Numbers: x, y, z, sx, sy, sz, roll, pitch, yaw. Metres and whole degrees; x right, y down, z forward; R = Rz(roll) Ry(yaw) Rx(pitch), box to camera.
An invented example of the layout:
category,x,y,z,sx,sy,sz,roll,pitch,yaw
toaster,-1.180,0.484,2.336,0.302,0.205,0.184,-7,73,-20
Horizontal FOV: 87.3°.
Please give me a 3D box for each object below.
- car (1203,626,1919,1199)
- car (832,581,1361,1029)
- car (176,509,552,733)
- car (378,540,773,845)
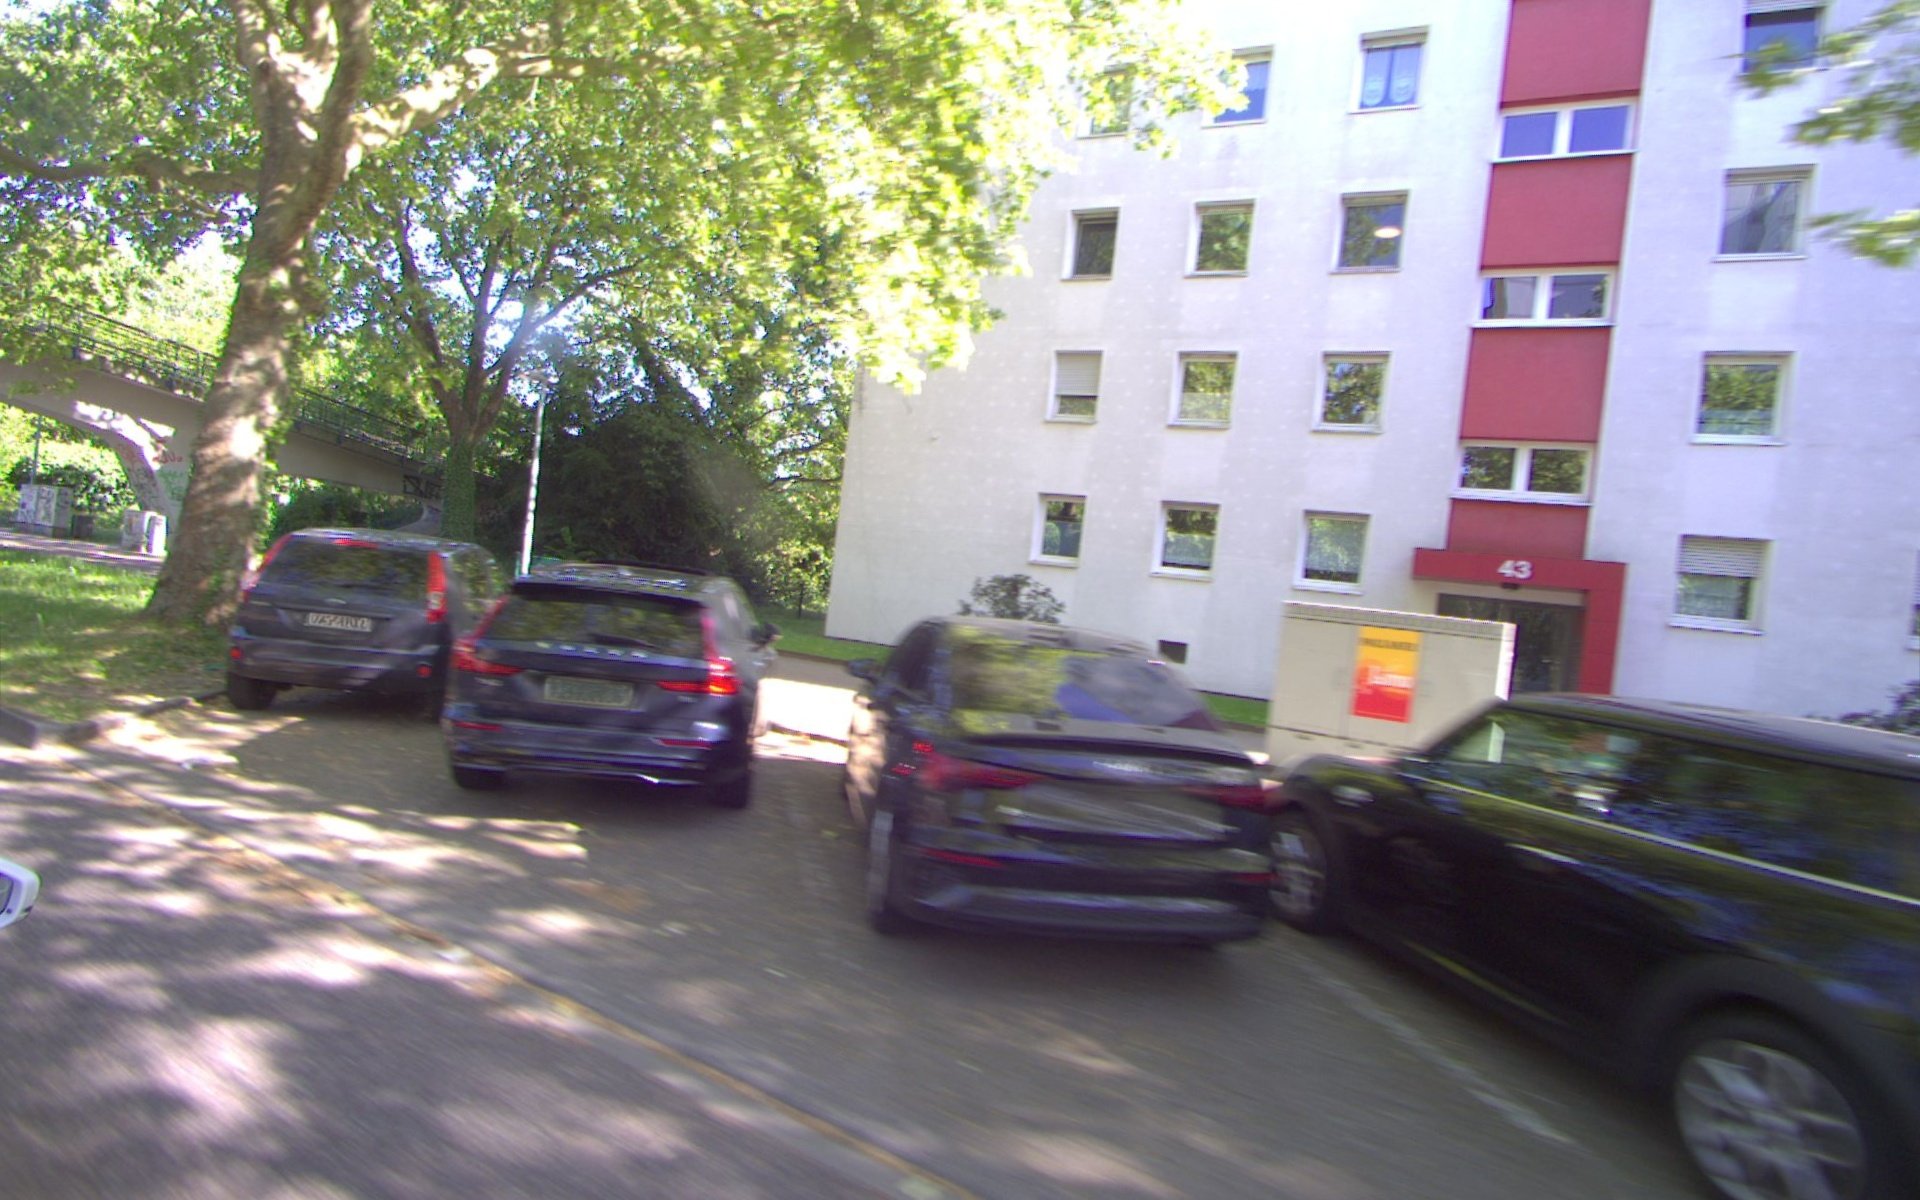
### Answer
category,x,y,z,sx,sy,sz,roll,pitch,yaw
car,2.817,1.069,4.397,1.753,1.487,3.988,6,1,-12
car,0.270,0.760,5.830,1.769,1.481,4.247,6,1,-9
car,-5.112,0.092,9.297,1.771,1.481,3.987,6,1,-13
car,-2.411,0.437,7.442,1.769,1.481,4.247,6,1,-9
